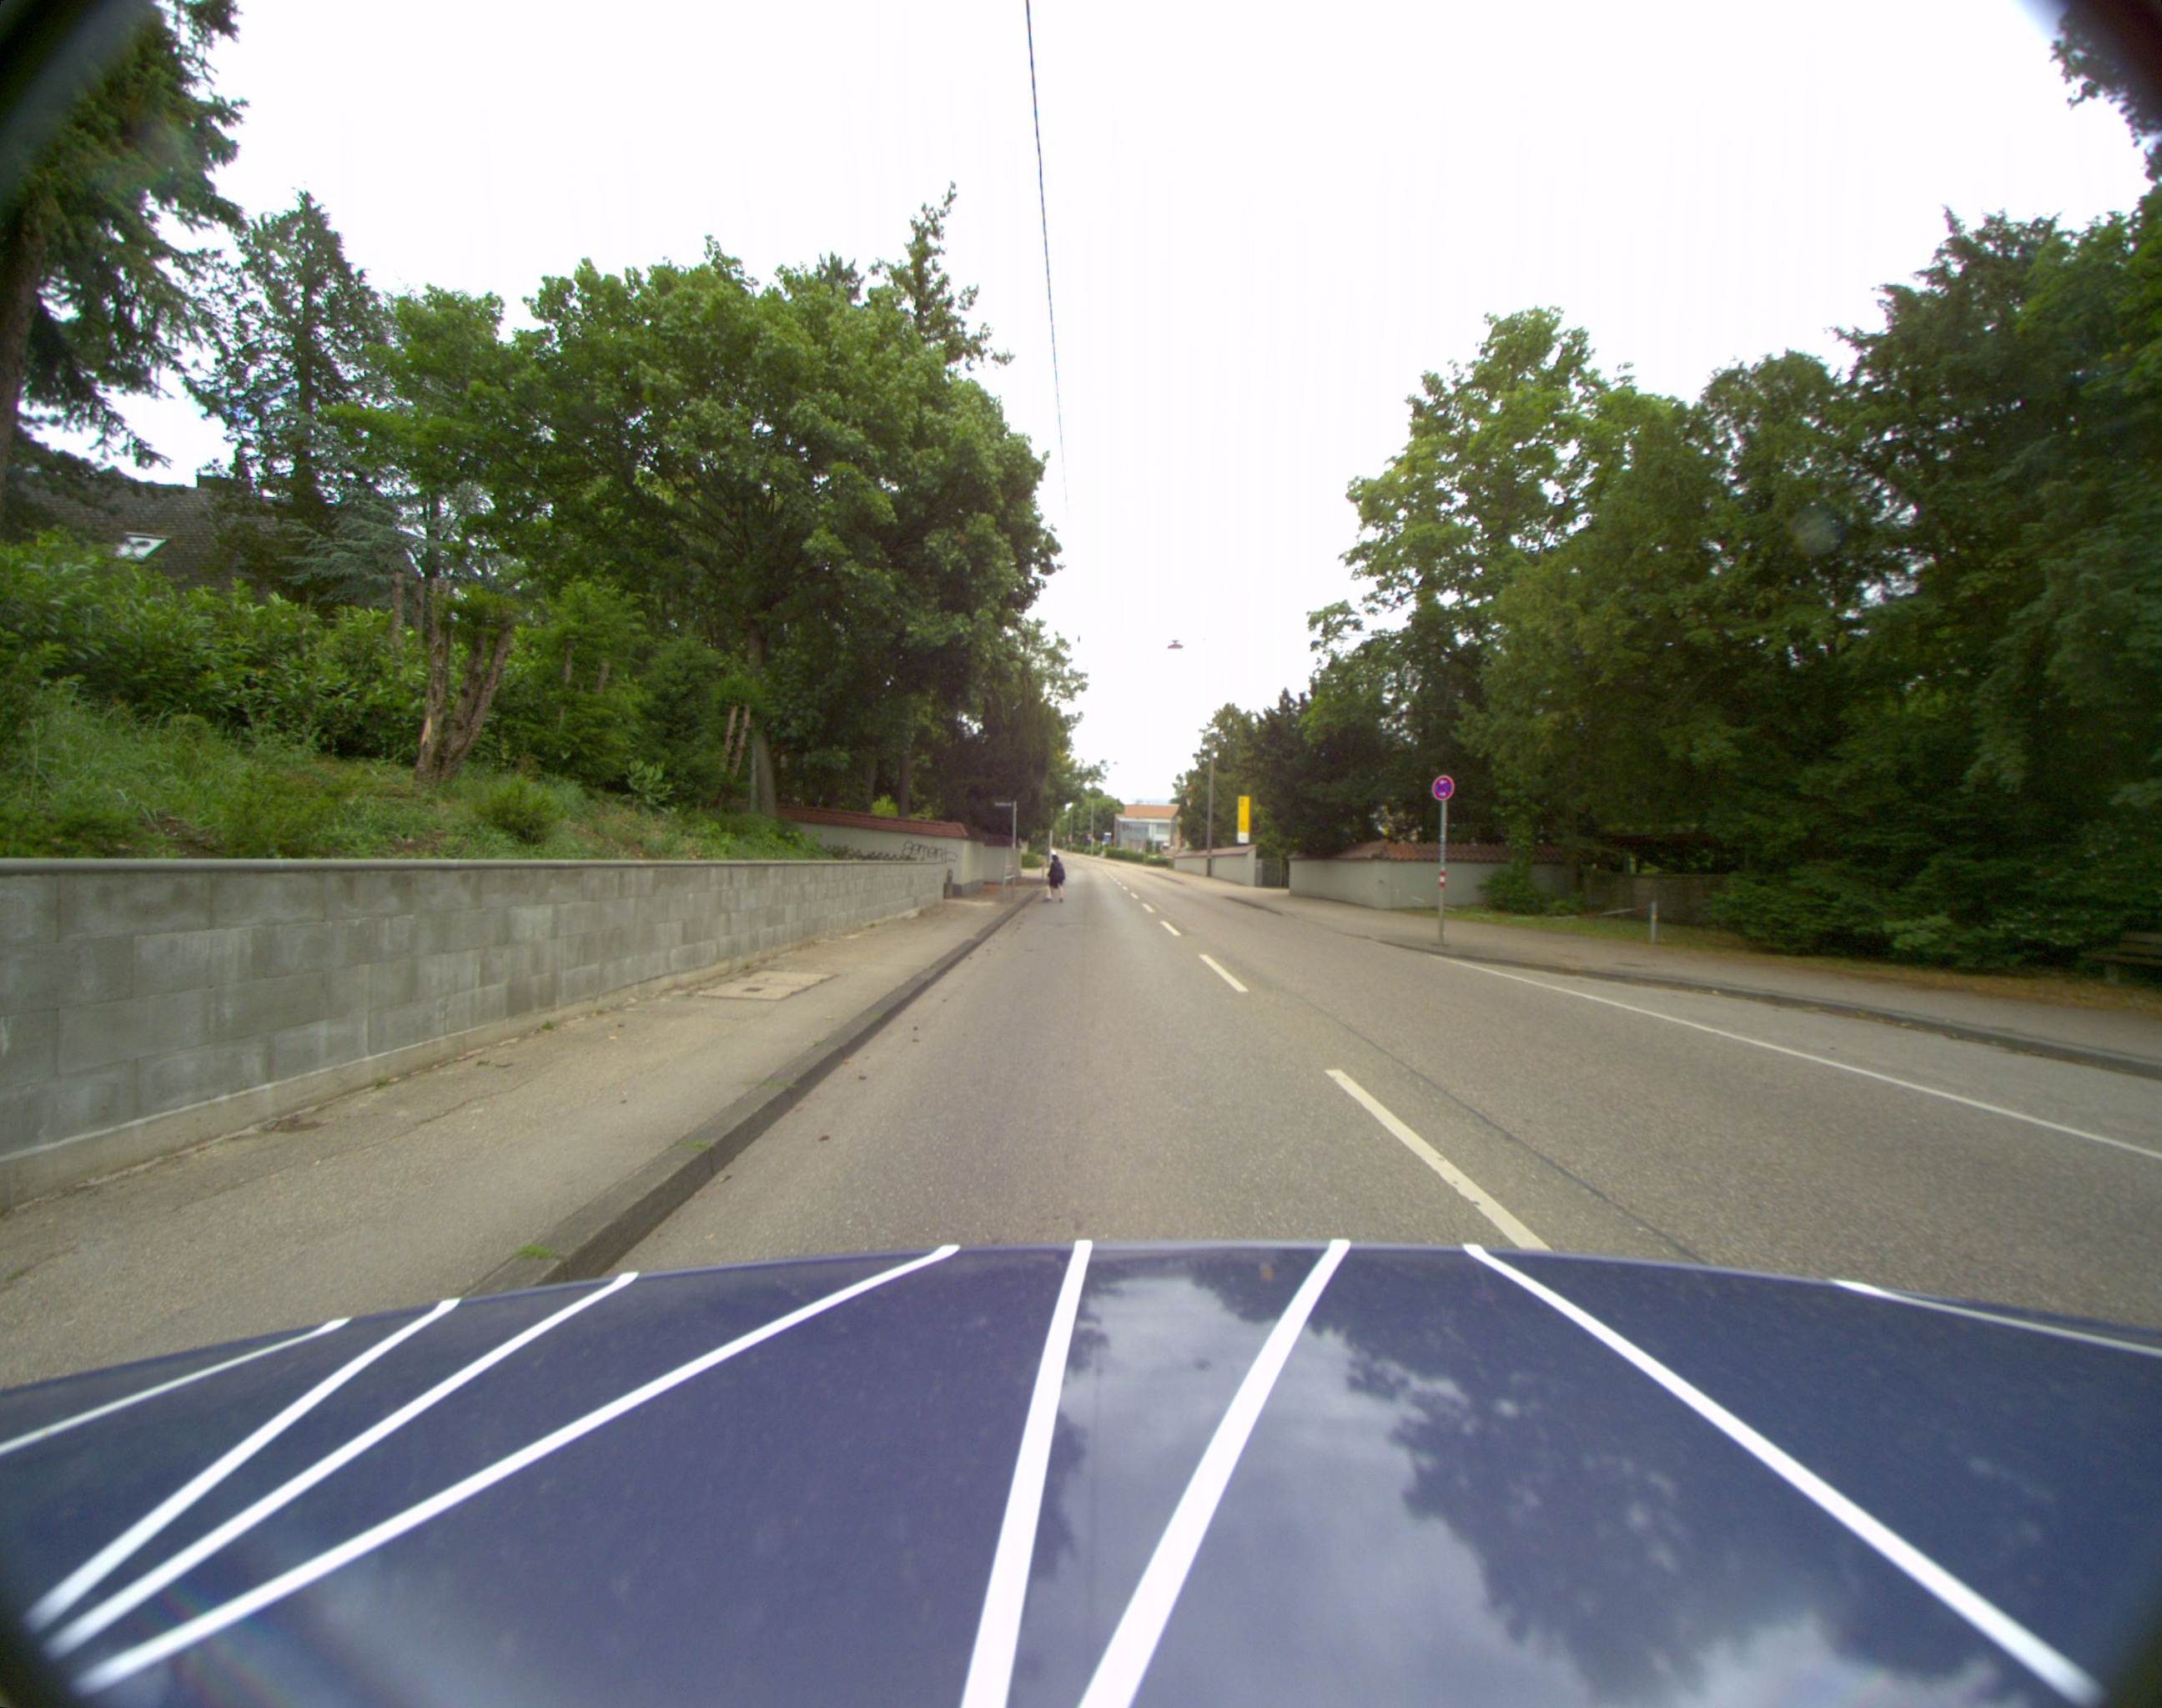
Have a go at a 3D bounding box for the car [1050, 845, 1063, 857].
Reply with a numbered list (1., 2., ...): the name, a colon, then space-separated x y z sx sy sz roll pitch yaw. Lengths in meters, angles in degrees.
1. car: -3.970 -0.535 122.408 1.886 1.893 4.000 0 0 1

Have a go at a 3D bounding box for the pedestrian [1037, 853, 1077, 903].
1. pedestrian: -0.763 0.766 24.512 0.930 1.551 0.900 0 1 -35
